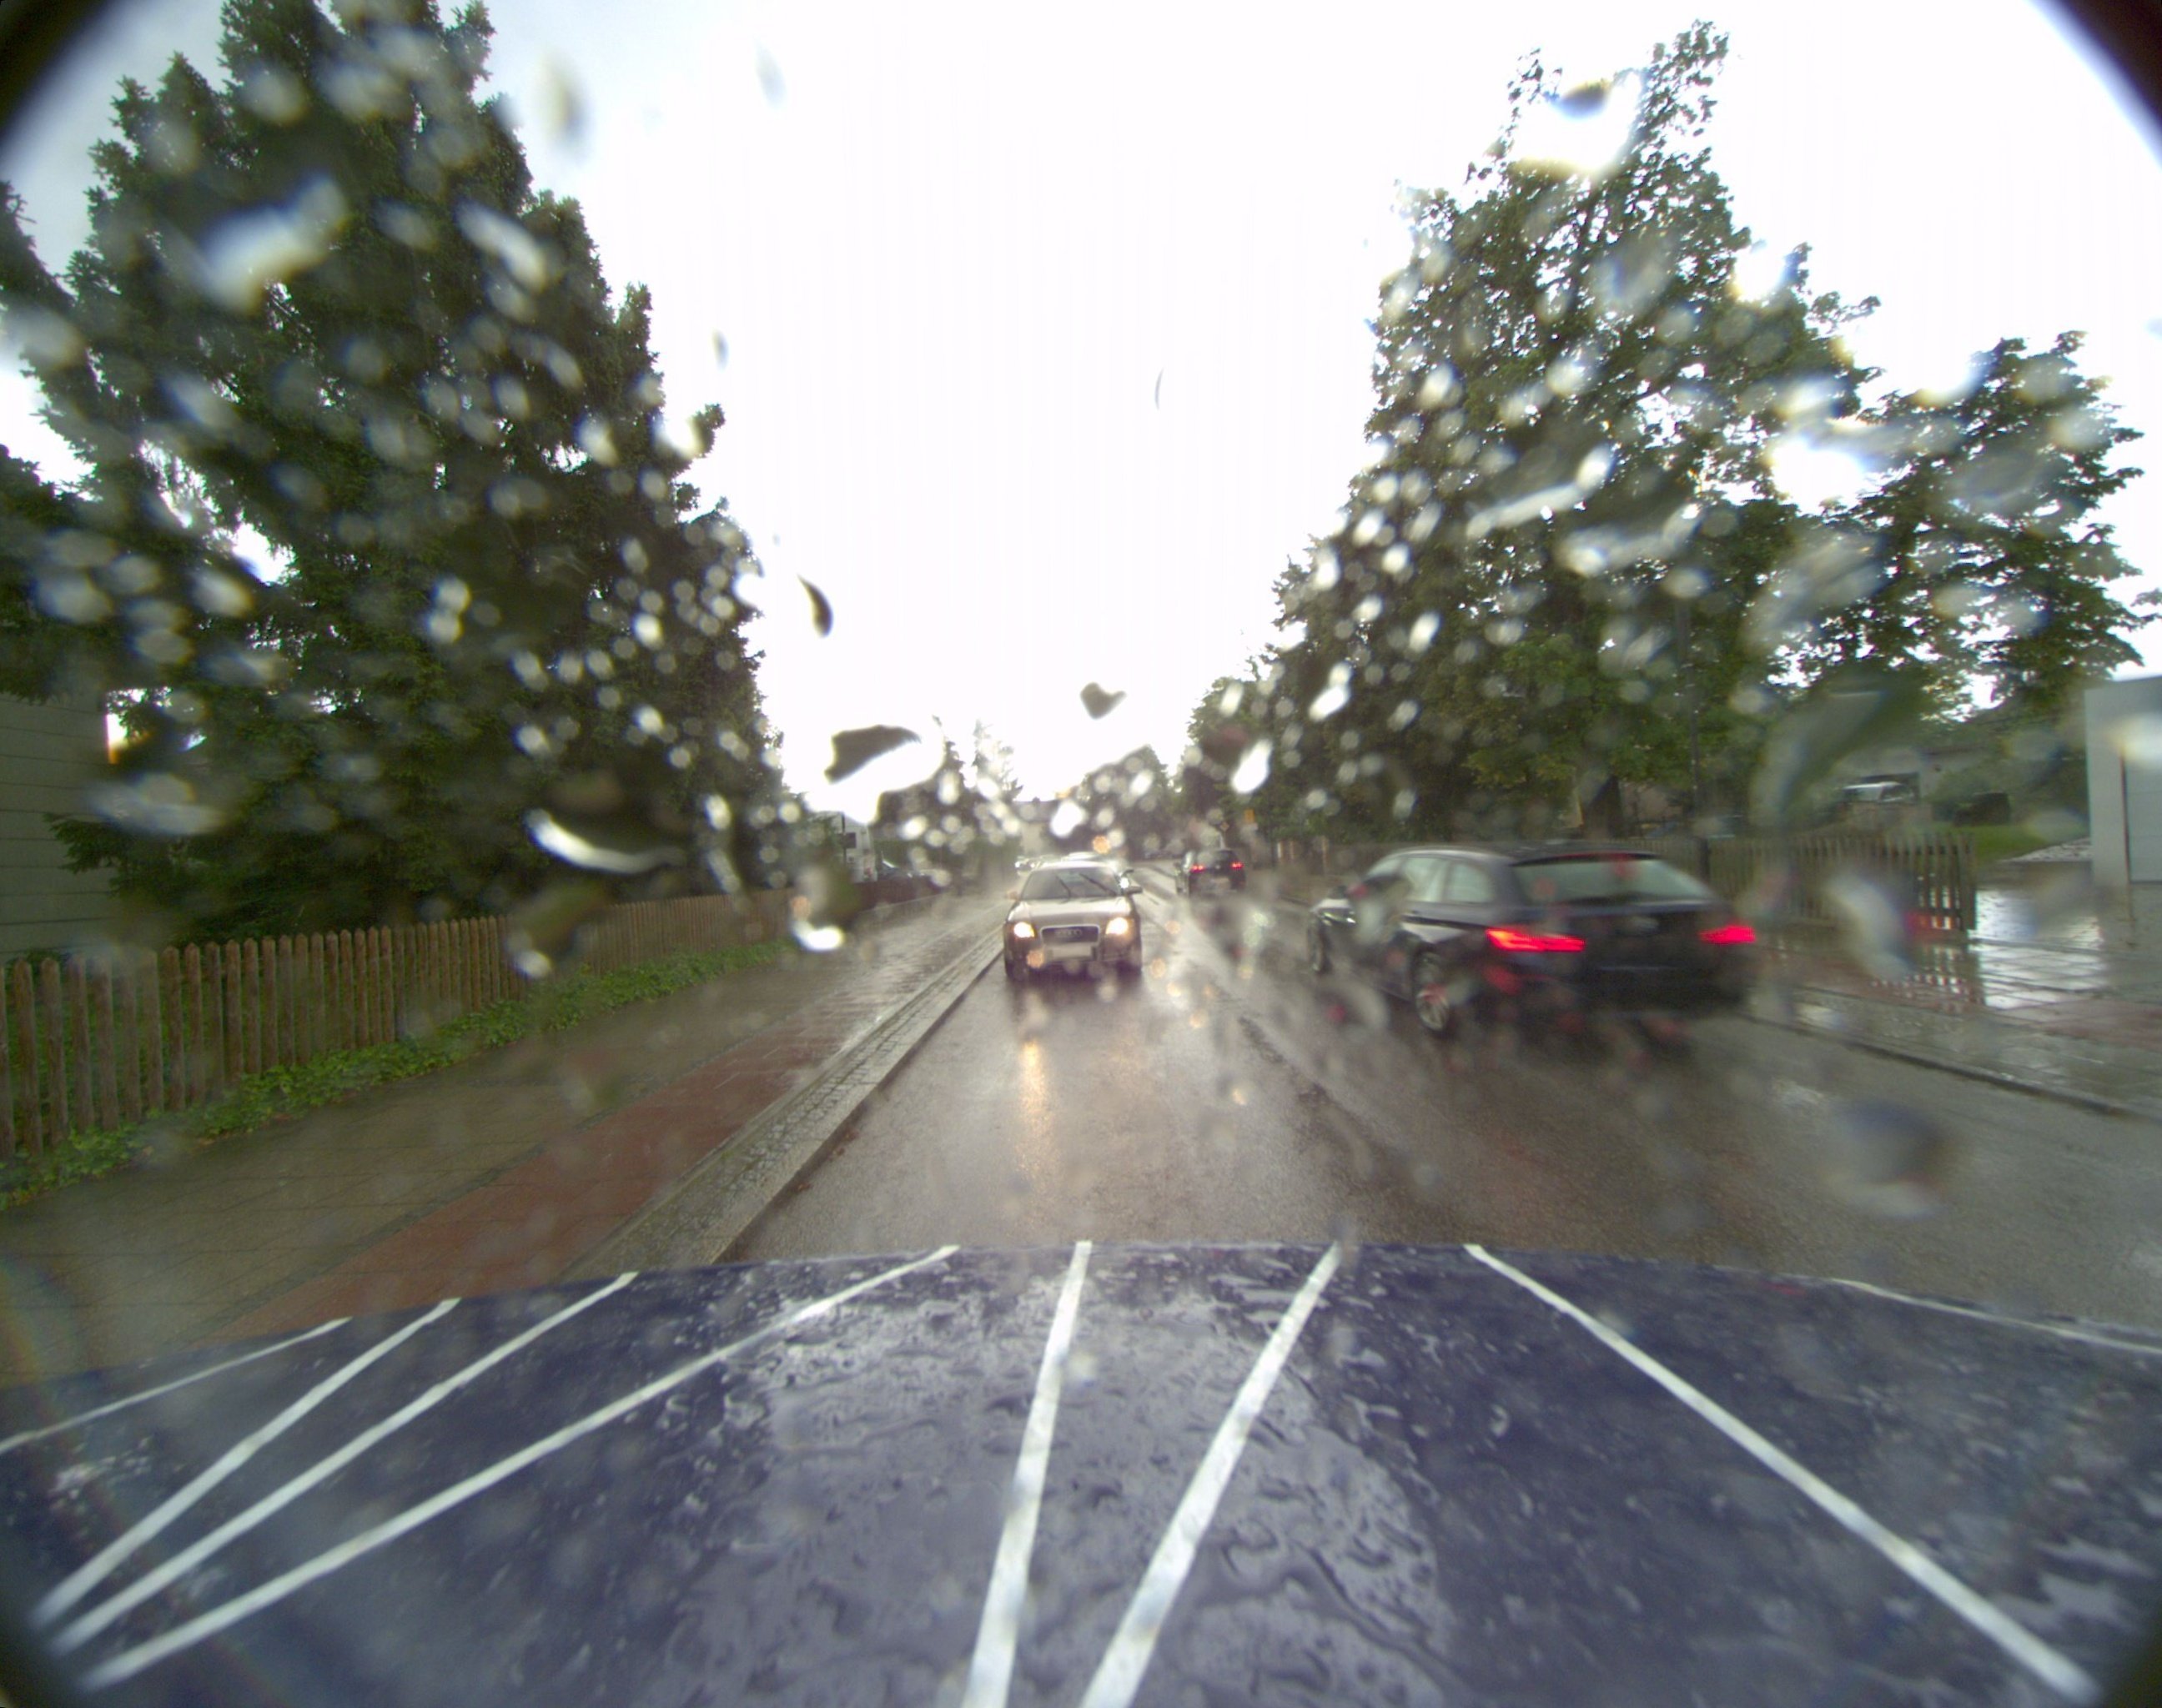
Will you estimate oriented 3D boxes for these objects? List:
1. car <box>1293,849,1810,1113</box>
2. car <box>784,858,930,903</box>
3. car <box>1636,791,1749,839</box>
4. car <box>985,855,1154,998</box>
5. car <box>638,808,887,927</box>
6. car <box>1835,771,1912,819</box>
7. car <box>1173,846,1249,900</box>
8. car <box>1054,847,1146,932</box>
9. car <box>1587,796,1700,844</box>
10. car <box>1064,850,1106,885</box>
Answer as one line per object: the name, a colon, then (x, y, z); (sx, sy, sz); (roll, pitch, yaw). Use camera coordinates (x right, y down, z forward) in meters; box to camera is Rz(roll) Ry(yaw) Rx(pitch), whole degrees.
car: (3.417, 0.742, 6.709); (1.785, 1.457, 4.374); (-4, 1, 0)
car: (-7.386, 0.869, 25.445); (4.443, 1.413, 1.829); (0, 1, -7)
car: (28.927, -1.816, 36.028); (1.845, 1.792, 3.649); (-6, 0, -33)
car: (-0.107, 0.841, 10.835); (1.872, 1.512, 4.188); (-3, 1, 1)
car: (-7.631, 0.290, 18.754); (5.321, 2.712, 1.998); (0, 1, -9)
car: (40.631, -3.018, 38.953); (3.857, 2.281, 1.782); (-3, 1, -29)
car: (4.034, 0.543, 24.134); (1.712, 1.457, 4.000); (-4, 1, 1)
car: (0.441, 0.747, 18.850); (1.872, 1.603, 4.960); (-4, 1, 1)
car: (25.942, -1.546, 35.130); (1.845, 1.792, 3.649); (-6, 0, -33)
car: (0.228, 0.620, 38.231); (1.872, 1.512, 4.960); (-4, 1, 1)
